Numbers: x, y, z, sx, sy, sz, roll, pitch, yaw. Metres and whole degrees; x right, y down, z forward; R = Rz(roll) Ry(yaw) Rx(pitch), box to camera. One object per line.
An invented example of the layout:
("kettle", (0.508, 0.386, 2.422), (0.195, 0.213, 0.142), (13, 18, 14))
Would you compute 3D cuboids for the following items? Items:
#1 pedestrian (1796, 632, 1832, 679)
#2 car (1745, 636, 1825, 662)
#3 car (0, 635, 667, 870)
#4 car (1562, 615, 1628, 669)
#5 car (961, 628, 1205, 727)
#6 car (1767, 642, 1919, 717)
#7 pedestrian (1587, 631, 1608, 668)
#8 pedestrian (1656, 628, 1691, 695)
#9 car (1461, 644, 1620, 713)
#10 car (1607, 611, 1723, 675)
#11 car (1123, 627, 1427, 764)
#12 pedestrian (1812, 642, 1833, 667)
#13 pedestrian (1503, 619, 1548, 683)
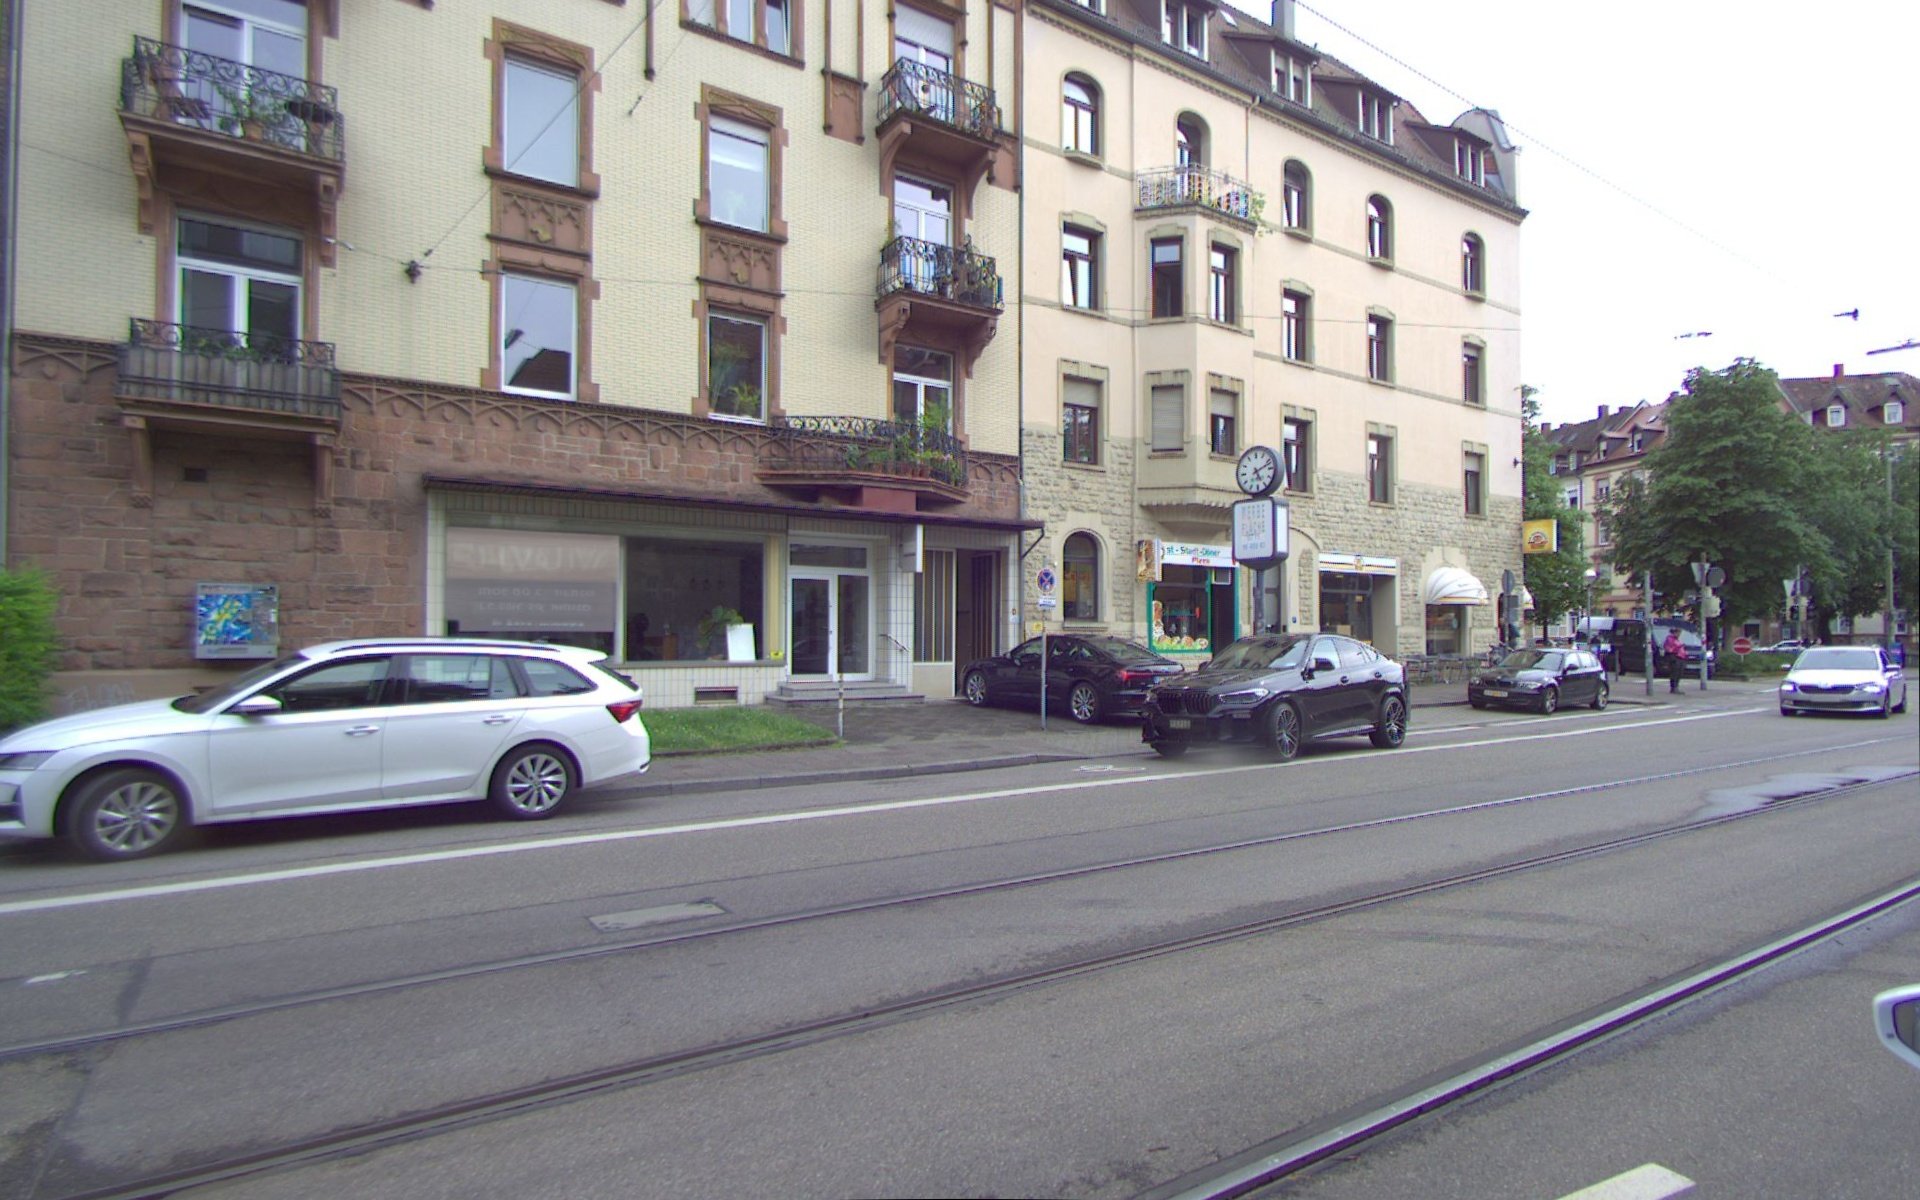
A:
("pedestrian", (30.831, 2.000, 36.277), (0.584, 1.685, 0.832), (1, -2, -31))
("car", (53.311, 3.170, 65.023), (3.798, 1.644, 1.722), (-2, -3, 33))
("car", (-4.958, 1.053, 8.337), (4.561, 1.504, 1.737), (1, -3, -34))
("car", (32.194, 2.122, 51.045), (2.145, 2.560, 5.376), (-1, -2, 25))
("car", (2.078, 1.290, 18.179), (1.863, 1.388, 4.393), (1, 0, -36))
("car", (18.641, 1.613, 21.149), (3.964, 1.429, 1.677), (2, -4, -38))
("pedestrian", (29.591, 2.291, 46.650), (0.686, 1.738, 0.552), (-1, -2, 18))
("pedestrian", (20.355, 1.744, 28.667), (0.604, 1.866, 0.619), (1, -2, -35))
("car", (13.522, 1.762, 23.328), (4.089, 1.379, 1.638), (1, 0, -35))
("car", (28.810, 1.756, 41.280), (2.142, 2.449, 5.384), (-1, -2, 15))
("car", (4.624, 1.278, 14.325), (4.850, 1.632, 1.867), (2, -5, -42))
("pedestrian", (41.820, 2.645, 48.688), (0.579, 1.184, 0.844), (-1, -2, 28))
("pedestrian", (18.217, 1.634, 32.379), (0.826, 2.040, 0.968), (1, -3, -33))
